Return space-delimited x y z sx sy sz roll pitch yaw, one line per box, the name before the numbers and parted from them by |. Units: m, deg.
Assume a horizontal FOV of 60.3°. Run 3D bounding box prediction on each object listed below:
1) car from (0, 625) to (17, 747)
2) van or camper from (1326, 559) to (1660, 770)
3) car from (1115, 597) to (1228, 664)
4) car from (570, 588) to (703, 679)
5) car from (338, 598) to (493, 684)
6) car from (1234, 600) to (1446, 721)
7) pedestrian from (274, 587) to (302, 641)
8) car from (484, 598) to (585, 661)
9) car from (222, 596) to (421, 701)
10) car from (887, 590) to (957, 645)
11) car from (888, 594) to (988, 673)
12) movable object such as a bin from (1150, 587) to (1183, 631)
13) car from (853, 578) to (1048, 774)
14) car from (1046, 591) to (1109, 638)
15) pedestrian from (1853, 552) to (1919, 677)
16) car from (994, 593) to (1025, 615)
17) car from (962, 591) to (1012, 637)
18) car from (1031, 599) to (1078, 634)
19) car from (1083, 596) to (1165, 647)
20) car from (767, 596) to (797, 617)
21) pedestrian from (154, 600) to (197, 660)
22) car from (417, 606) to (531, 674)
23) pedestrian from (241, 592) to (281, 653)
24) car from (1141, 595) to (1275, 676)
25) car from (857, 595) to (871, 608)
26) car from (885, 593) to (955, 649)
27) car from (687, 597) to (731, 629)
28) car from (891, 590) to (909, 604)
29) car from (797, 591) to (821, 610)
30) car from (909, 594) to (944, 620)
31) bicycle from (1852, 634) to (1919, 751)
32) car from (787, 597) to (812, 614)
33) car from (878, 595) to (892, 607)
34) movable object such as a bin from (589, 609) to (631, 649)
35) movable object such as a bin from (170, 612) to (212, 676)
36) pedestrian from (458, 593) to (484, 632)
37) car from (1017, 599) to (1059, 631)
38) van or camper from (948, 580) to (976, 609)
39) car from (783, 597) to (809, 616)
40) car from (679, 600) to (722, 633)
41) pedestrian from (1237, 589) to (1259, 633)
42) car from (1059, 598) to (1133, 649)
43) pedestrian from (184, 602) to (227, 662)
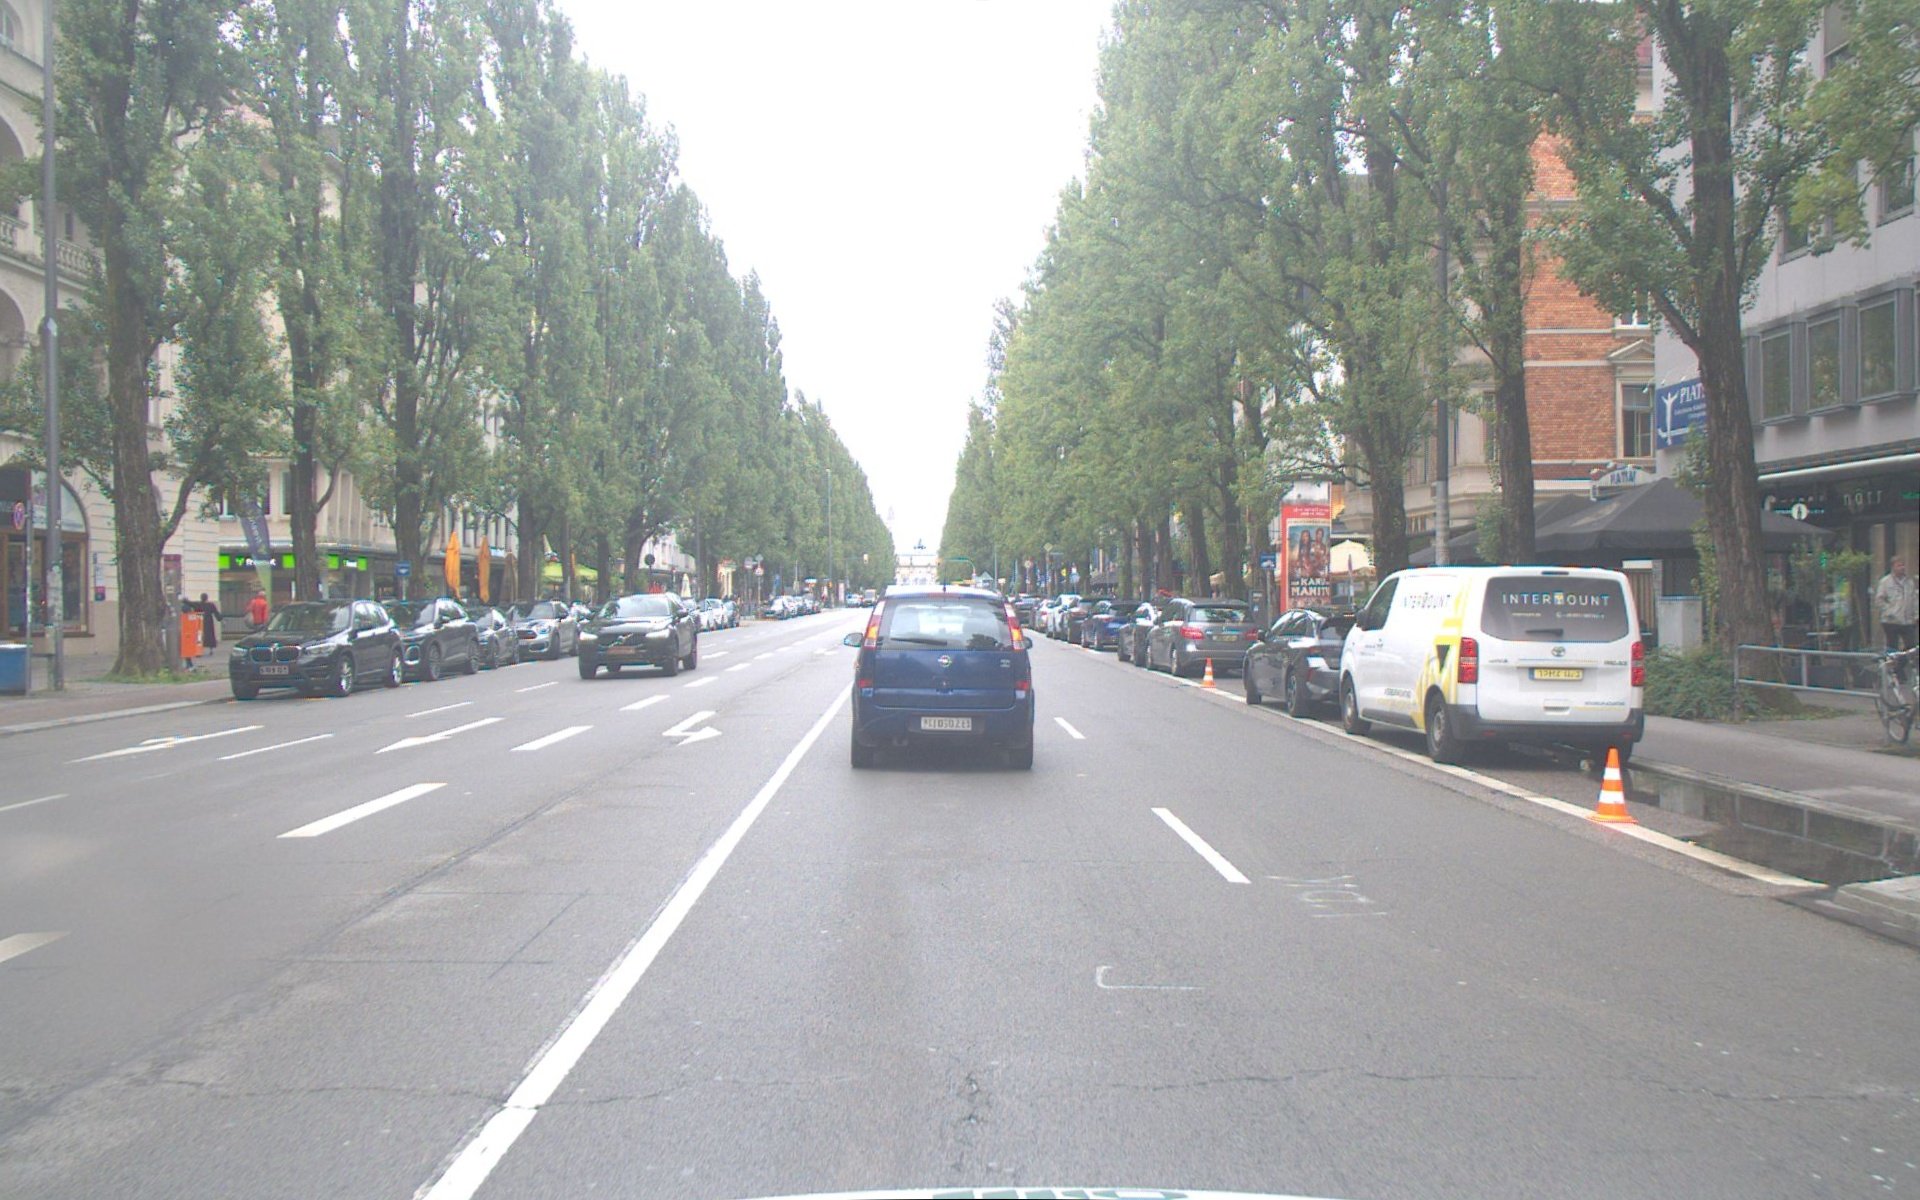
car | -11.426 0.959 16.346 1.840 1.321 4.095 -1 0 0
van or camper | 5.394 0.581 17.483 1.831 1.916 4.901 0 0 -2
car | 4.891 0.664 38.931 1.841 1.457 4.802 -1 0 -3
car | -6.486 0.636 33.625 1.896 1.651 4.335 -2 0 -2
car | -11.318 0.797 34.693 1.766 1.622 4.630 -1 0 -1
car | 5.138 0.763 22.954 1.685 1.467 4.351 2 0 -3
pedestrian | -22.195 0.457 54.649 0.612 1.752 0.826 -1 0 -2
car | -11.483 0.765 44.883 1.746 1.603 4.131 0 0 -2
car | -11.252 0.792 29.523 1.783 1.646 4.715 -1 1 -1
car | -1.152 0.475 48.485 1.953 1.523 3.998 -1 0 -2
car | -0.514 0.653 34.633 1.953 1.523 3.998 -1 0 -2
movable object such as a bin | 8.467 0.360 67.757 1.013 1.733 1.585 -1 0 -5
car | -0.158 0.640 16.127 1.647 1.670 3.998 0 0 -2
car | 4.322 0.500 61.444 1.790 1.649 4.745 1 0 -2
pedestrian | 14.345 0.221 25.350 0.809 1.873 1.100 0 0 7
car | 3.242 0.254 108.814 1.858 1.386 3.898 -1 0 -1
car | 0.963 0.494 60.786 1.671 1.601 3.999 0 0 -1
car | 4.056 0.698 71.583 1.637 1.431 4.125 1 0 -2
car | 4.845 0.608 49.356 1.715 1.430 4.461 -1 0 -4
car | -12.549 0.421 116.458 1.793 1.445 3.810 0 0 -2
pedestrian | -20.873 0.788 44.001 0.753 1.564 0.804 -1 0 -2
car | -11.606 0.919 39.770 1.651 1.449 4.683 -3 0 -5
pedestrian | -19.803 0.617 46.867 0.719 1.702 0.952 0 0 -2
car | 5.005 0.672 33.927 1.781 1.532 4.228 -1 0 -5
car | -13.325 0.180 230.117 1.798 1.770 3.777 -1 0 -2
car | -1.139 0.584 48.030 1.953 1.557 3.999 0 0 -1
car | -12.703 0.652 83.927 1.798 1.573 4.084 -1 0 -3
car | -6.401 -0.353 175.947 1.922 1.424 3.777 -1 0 -2
car | -14.210 0.058 155.826 1.953 1.691 3.998 -1 0 -2
car | -1.979 0.399 96.771 1.953 1.524 3.998 0 0 -2
bicycle | 9.233 0.878 16.084 0.357 1.056 1.732 0 0 6
car | -14.091 0.468 145.106 1.922 1.424 3.777 -1 0 -2
car | -10.320 0.144 227.945 1.798 1.706 3.777 -1 0 -2
movable object such as a bin | -11.907 0.970 56.336 1.251 1.333 0.901 0 0 -1
movable object such as a bin | -16.240 0.918 34.938 0.592 1.339 0.586 0 0 -1
pedestrian | -22.551 0.563 76.284 0.834 1.775 1.148 0 0 -1
car | 3.647 0.681 78.124 1.648 1.439 3.581 1 0 -2
van or camper | 0.181 -0.474 153.887 2.426 2.626 5.843 -1 0 -1
car | -13.828 0.529 139.531 1.922 1.557 3.998 -1 0 -3
car | -12.549 0.773 80.093 1.540 1.561 2.923 -1 0 1
pedestrian | 12.095 0.454 69.504 0.714 1.834 0.931 -1 0 -1
car | 4.532 0.760 55.862 1.953 1.592 4.482 -1 0 -2
pedestrian | -20.098 0.851 44.065 0.753 1.564 0.804 1 0 -2
